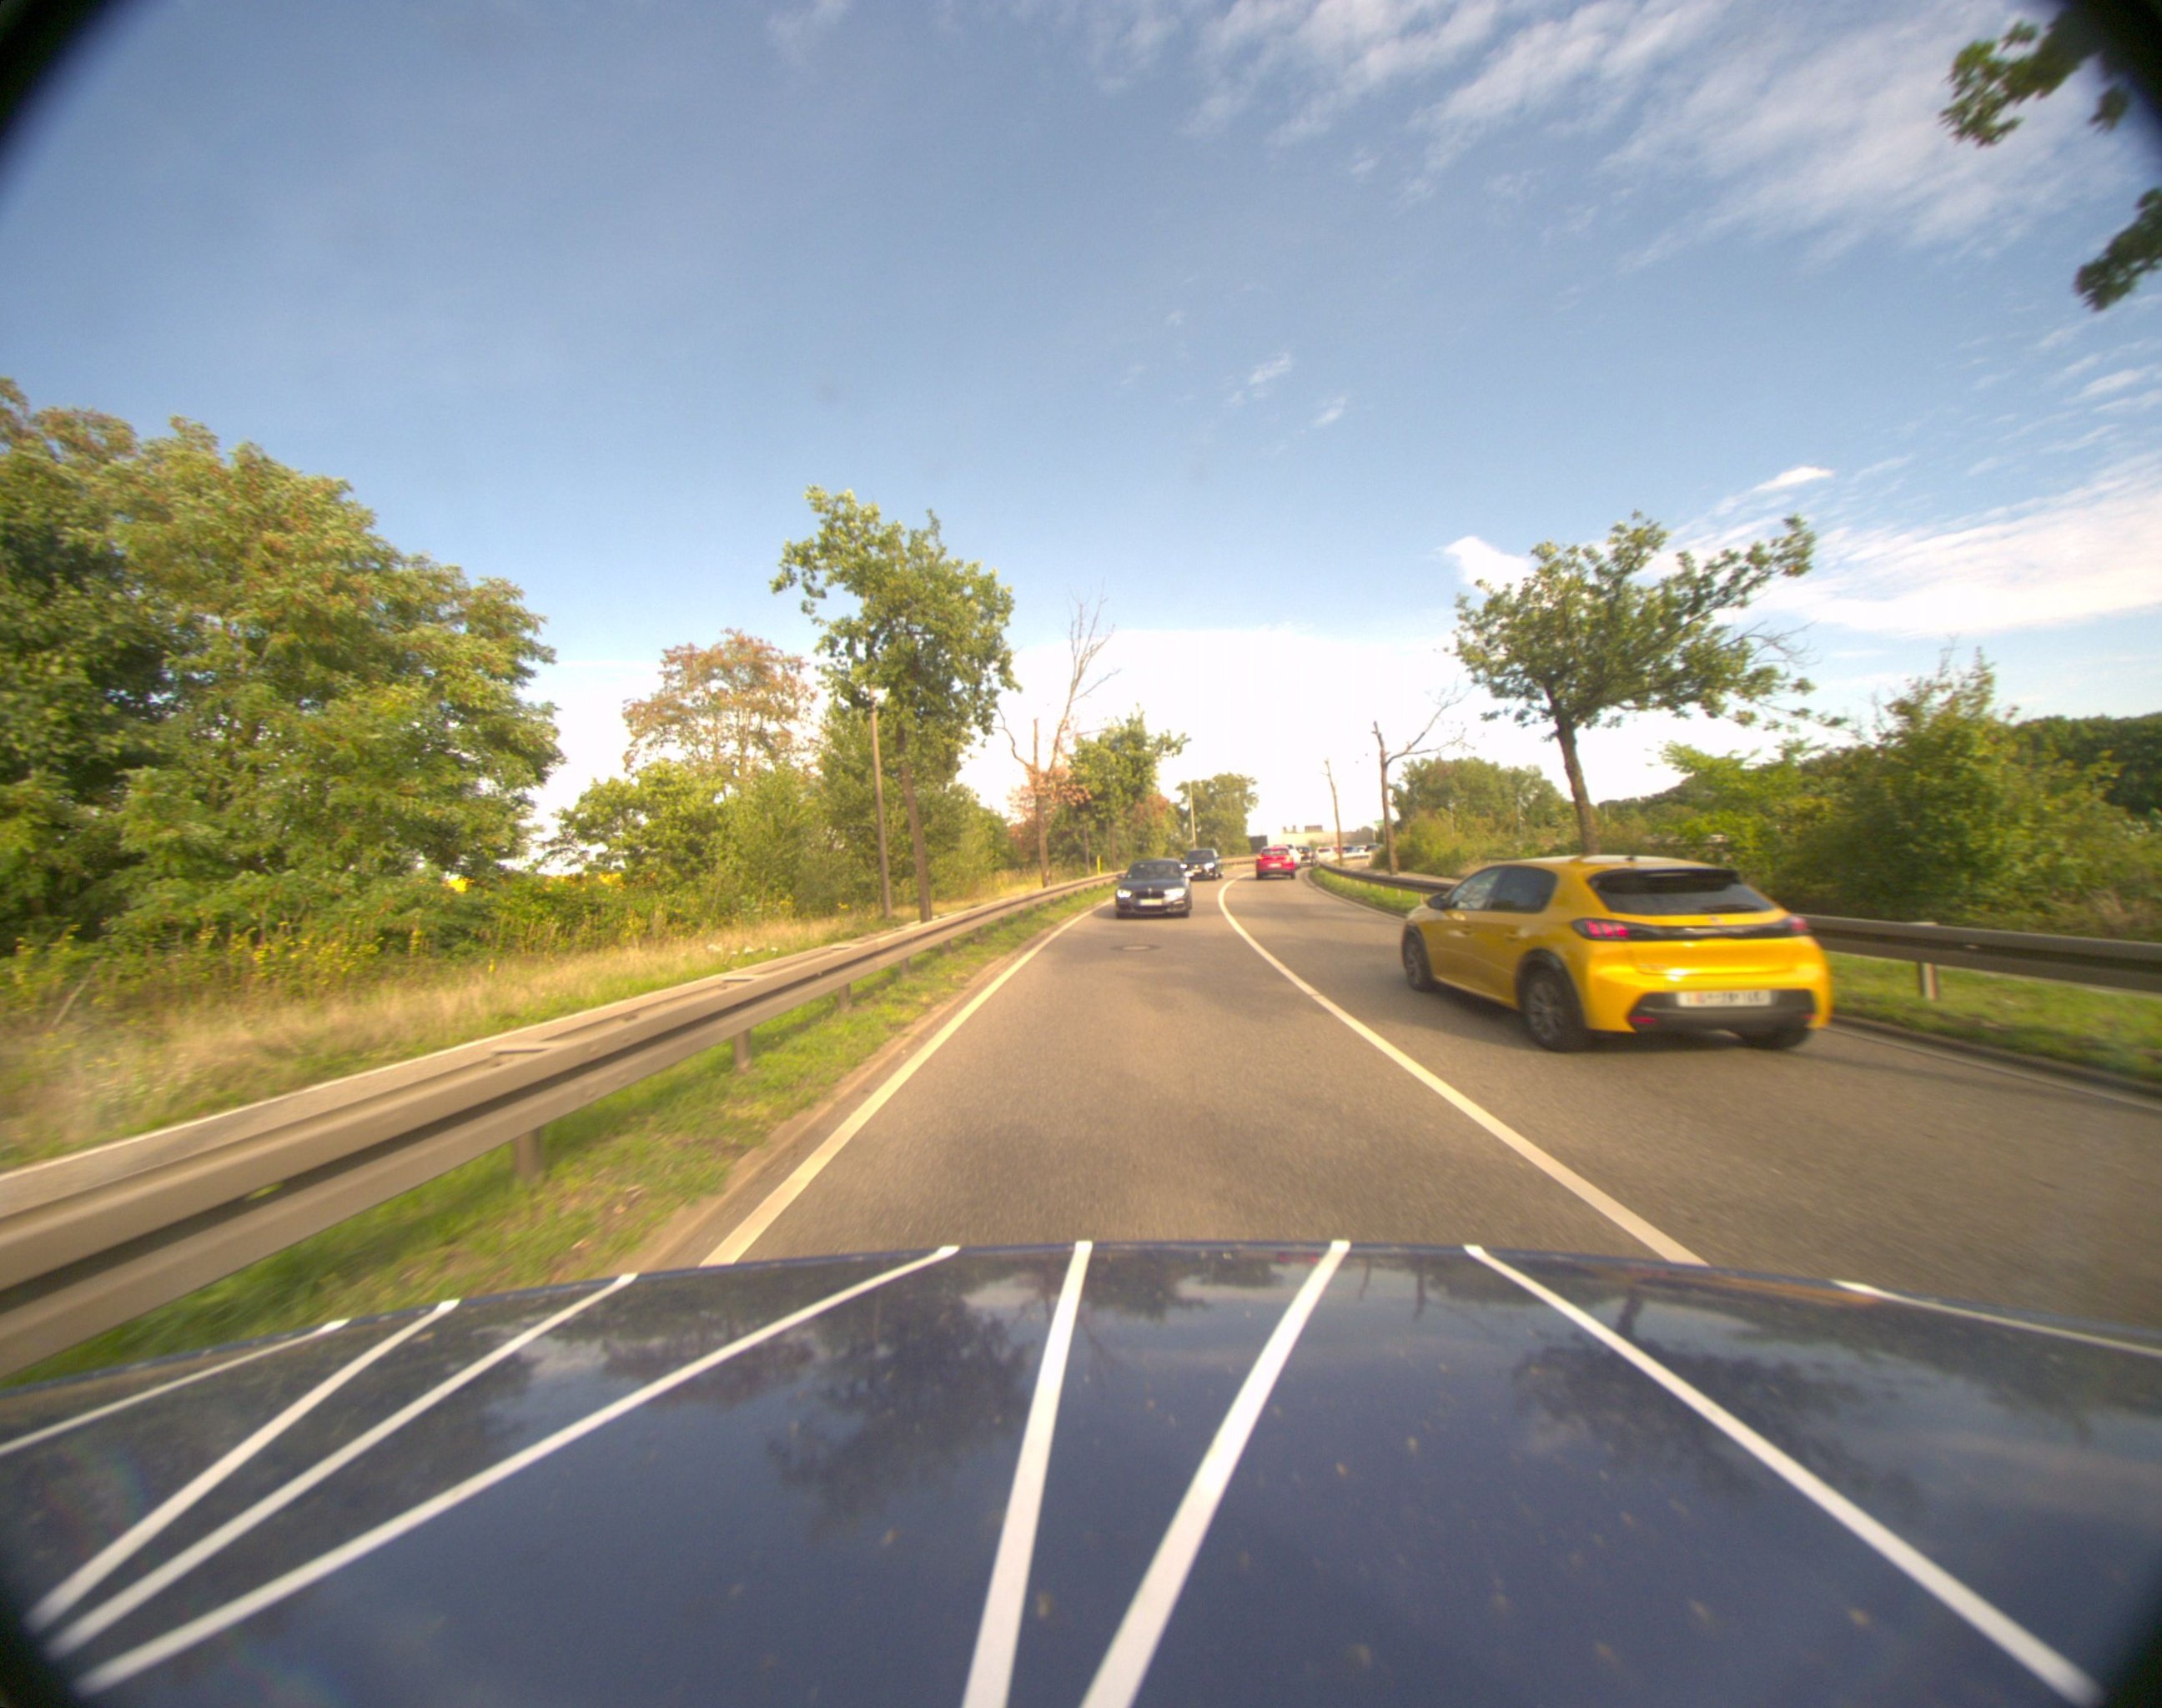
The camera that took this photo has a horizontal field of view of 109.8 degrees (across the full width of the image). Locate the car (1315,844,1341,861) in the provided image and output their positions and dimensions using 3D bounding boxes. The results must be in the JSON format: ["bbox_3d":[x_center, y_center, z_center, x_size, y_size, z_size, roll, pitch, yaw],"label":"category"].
[{"bbox_3d":[22.472,-0.155,69.021,1.600,1.456,3.743,-2,0,27],"label":"car"}]

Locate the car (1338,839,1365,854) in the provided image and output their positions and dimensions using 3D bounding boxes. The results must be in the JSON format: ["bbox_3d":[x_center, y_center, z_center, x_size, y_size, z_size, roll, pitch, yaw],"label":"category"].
[{"bbox_3d":[28.692,-0.800,80.518,1.800,1.511,4.015,-2,0,33],"label":"car"}]

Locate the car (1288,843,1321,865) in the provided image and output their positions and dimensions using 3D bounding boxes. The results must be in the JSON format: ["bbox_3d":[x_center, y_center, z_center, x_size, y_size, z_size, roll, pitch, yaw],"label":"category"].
[{"bbox_3d":[17.722,-0.014,60.043,1.891,1.639,4.649,-2,0,24],"label":"car"}]

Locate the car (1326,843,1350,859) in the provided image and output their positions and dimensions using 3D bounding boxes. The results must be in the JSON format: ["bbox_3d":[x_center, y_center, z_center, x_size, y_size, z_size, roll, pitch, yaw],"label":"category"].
[{"bbox_3d":[25.548,-0.337,75.484,1.600,1.456,3.743,-2,0,28],"label":"car"}]

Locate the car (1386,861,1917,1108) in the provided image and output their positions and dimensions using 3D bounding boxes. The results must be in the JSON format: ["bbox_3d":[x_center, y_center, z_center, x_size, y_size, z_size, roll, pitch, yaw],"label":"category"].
[{"bbox_3d":[4.294,0.828,6.631,1.803,1.417,3.872,-2,0,2],"label":"car"}]

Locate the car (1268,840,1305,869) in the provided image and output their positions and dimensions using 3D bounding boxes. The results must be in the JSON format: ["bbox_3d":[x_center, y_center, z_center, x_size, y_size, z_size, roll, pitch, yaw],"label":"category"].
[{"bbox_3d":[13.907,-0.015,51.249,1.903,1.800,5.411,-2,0,19],"label":"car"}]

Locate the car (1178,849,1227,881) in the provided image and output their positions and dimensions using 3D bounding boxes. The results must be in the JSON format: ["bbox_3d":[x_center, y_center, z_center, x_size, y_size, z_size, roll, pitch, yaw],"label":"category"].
[{"bbox_3d":[6.423,0.523,39.718,1.816,1.498,4.396,-2,0,18],"label":"car"}]

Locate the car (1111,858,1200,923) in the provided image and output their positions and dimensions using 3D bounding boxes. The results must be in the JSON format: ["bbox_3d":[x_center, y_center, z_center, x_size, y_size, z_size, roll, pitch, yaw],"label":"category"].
[{"bbox_3d":[2.008,0.855,19.349,1.784,1.396,3.974,-2,0,12],"label":"car"}]

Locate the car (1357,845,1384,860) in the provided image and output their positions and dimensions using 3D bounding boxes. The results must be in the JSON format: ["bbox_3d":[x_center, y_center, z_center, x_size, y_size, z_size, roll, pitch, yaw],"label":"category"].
[{"bbox_3d":[33.945,-0.184,89.086,1.926,1.639,4.597,-2,0,35],"label":"car"}]

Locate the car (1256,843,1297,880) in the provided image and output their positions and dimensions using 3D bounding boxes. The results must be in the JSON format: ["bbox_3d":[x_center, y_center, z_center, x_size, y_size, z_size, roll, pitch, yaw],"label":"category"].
[{"bbox_3d":[9.816,0.338,38.222,1.812,1.664,4.301,-3,0,14],"label":"car"}]
